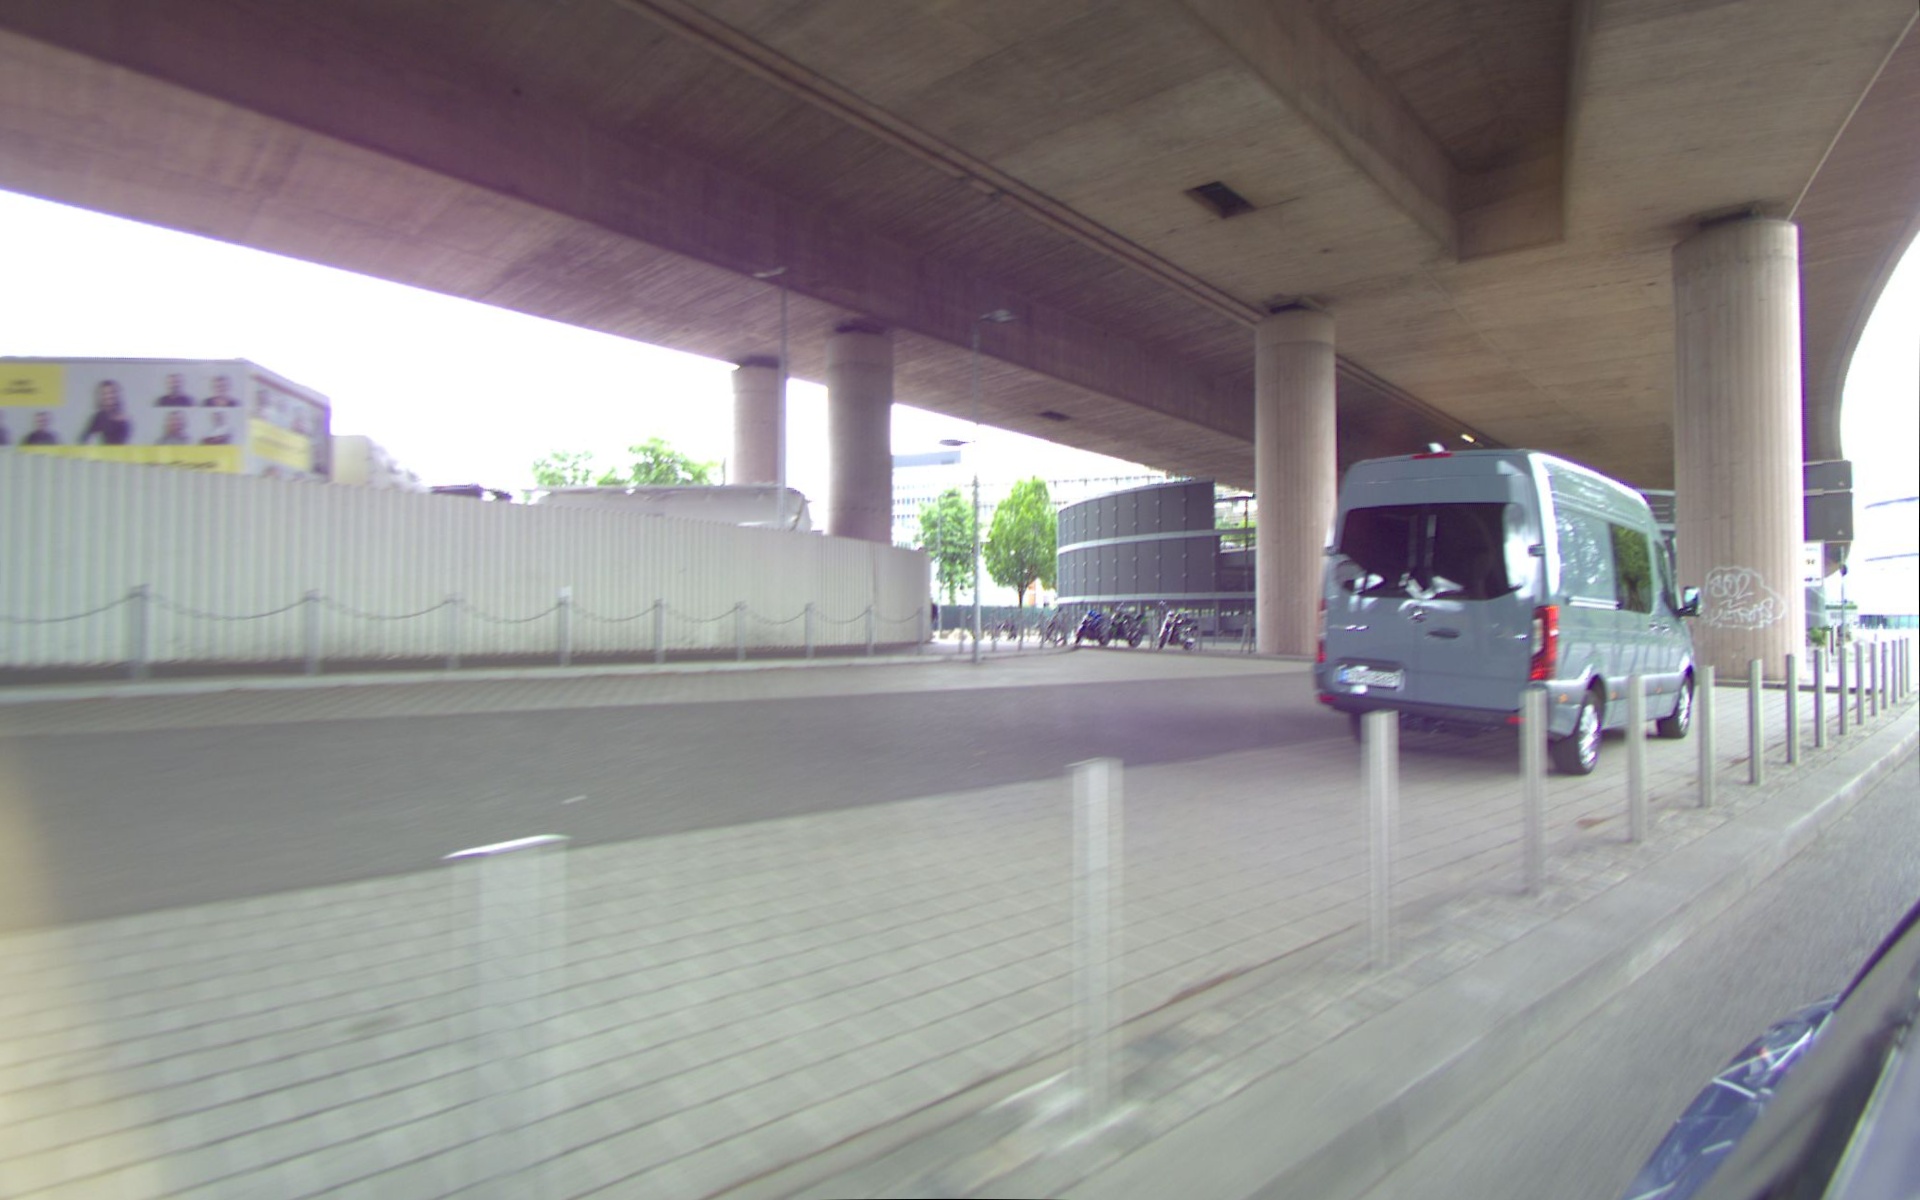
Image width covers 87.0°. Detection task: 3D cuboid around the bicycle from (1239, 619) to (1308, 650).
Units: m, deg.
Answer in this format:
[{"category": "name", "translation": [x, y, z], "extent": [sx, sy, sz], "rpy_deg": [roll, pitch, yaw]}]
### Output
[{"category": "bicycle", "translation": [9.744, 1.068, 31.503], "extent": [2.005, 0.938, 0.414], "rpy_deg": [0, -2, 34]}]

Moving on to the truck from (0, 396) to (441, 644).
[{"category": "truck", "translation": [-15.529, -1.430, 19.143], "extent": [9.729, 4.211, 2.817], "rpy_deg": [1, 0, -6]}]

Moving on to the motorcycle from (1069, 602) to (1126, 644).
[{"category": "motorcycle", "translation": [4.211, 0.720, 30.865], "extent": [0.571, 1.120, 2.295], "rpy_deg": [0, -5, 39]}]

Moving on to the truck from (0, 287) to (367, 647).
[{"category": "truck", "translation": [-14.979, -1.929, 15.603], "extent": [9.528, 4.986, 3.151], "rpy_deg": [1, 0, -6]}]

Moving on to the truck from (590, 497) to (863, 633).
[{"category": "truck", "translation": [-7.713, -1.109, 34.326], "extent": [8.590, 4.211, 2.915], "rpy_deg": [1, 0, -8]}]

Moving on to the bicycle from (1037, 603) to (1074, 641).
[{"category": "bicycle", "translation": [3.087, 0.730, 32.883], "extent": [0.608, 1.120, 2.332], "rpy_deg": [4, -4, -8]}]

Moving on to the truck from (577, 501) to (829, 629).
[{"category": "truck", "translation": [-9.196, -1.200, 37.148], "extent": [8.590, 4.291, 2.915], "rpy_deg": [1, 0, -8]}]

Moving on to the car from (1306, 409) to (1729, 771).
[{"category": "car", "translation": [5.887, -0.040, 10.175], "extent": [5.972, 2.646, 1.995], "rpy_deg": [1, 0, -43]}]

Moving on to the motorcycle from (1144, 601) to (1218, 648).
[{"category": "motorcycle", "translation": [6.312, 0.709, 28.766], "extent": [2.494, 1.251, 0.782], "rpy_deg": [4, -2, -45]}]

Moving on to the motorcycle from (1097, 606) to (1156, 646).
[{"category": "motorcycle", "translation": [4.968, 0.785, 30.042], "extent": [0.542, 1.120, 2.293], "rpy_deg": [0, -3, 42]}]

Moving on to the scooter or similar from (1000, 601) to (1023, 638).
[{"category": "scooter or similar", "translation": [1.853, 0.713, 36.665], "extent": [0.533, 1.234, 1.681], "rpy_deg": [3, -4, -6]}]

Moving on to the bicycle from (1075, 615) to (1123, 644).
[{"category": "bicycle", "translation": [4.865, 1.035, 35.459], "extent": [1.727, 0.995, 0.430], "rpy_deg": [0, -3, 41]}]

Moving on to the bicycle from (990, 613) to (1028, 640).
[{"category": "bicycle", "translation": [1.872, 1.012, 38.973], "extent": [0.429, 1.037, 1.733], "rpy_deg": [3, -2, -38]}]

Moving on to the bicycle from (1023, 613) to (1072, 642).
[{"category": "bicycle", "translation": [3.192, 0.992, 37.104], "extent": [0.389, 1.037, 2.059], "rpy_deg": [3, -3, -42]}]

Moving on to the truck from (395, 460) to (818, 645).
[{"category": "truck", "translation": [-8.955, -1.166, 26.802], "extent": [10.091, 4.358, 3.016], "rpy_deg": [1, 0, -5]}]

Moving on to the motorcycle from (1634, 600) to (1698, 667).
[{"category": "motorcycle", "translation": [15.621, 0.728, 22.445], "extent": [0.790, 1.384, 2.111], "rpy_deg": [1, -1, 25]}]

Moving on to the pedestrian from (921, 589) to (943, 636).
[{"category": "pedestrian", "translation": [-1.116, 0.492, 39.751], "extent": [0.682, 1.850, 0.506], "rpy_deg": [1, -1, -35]}]
